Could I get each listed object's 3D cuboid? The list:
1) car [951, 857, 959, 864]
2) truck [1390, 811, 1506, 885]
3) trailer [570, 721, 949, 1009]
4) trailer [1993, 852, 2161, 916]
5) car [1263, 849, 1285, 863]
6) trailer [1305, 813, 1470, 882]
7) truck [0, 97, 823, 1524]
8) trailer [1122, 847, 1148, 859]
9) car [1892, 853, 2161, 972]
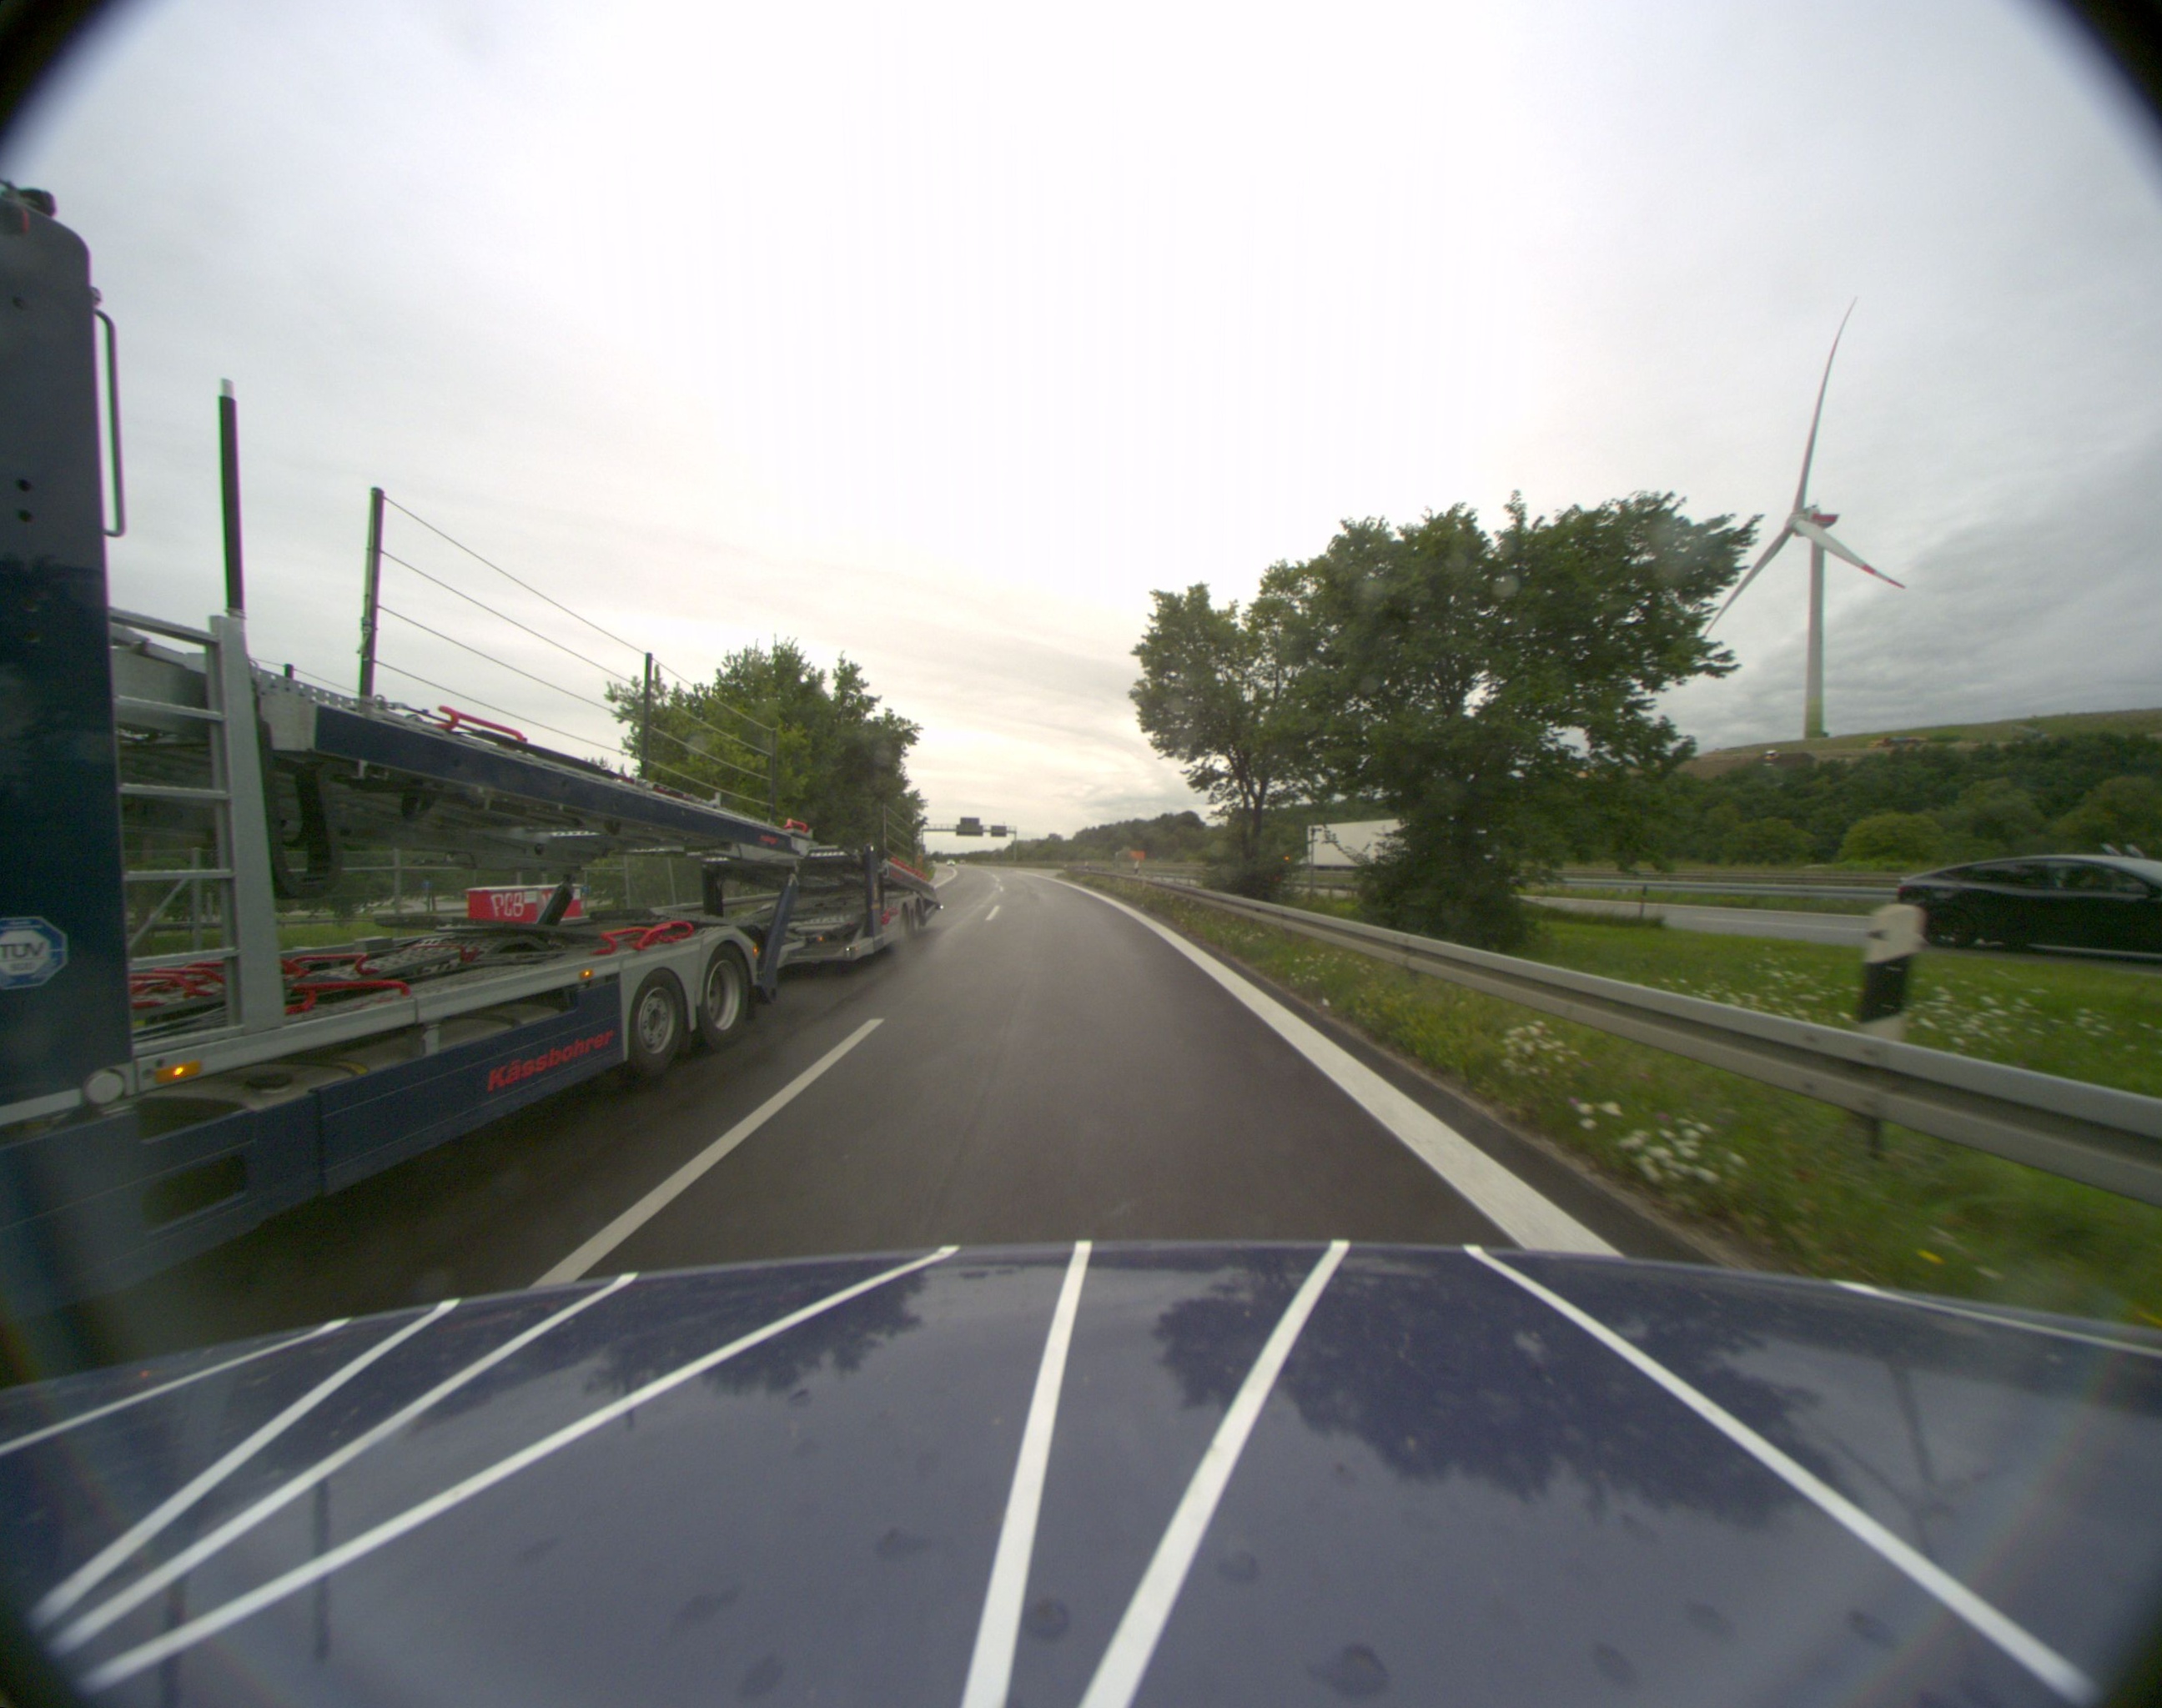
[{"bbox_3d":[-33.162,1.652,199.371,1.632,1.632,3.771,-1,1,-16],"label":"car"},{"bbox_3d":[21.942,-0.358,45.823,2.776,4.111,6.437,-1,0,-14],"label":"truck"},{"bbox_3d":[-4.586,0.120,13.931,2.785,3.265,10.404,-1,0,-2],"label":"trailer"},{"bbox_3d":[28.813,0.774,21.363,1.889,1.617,3.606,-1,1,-14],"label":"trailer"},{"bbox_3d":[33.258,0.306,130.951,2.030,2.362,3.995,-1,0,-15],"label":"car"},{"bbox_3d":[20.330,-0.408,52.120,2.776,4.111,13.933,-1,0,-14],"label":"trailer"},{"bbox_3d":[-4.364,-0.102,4.051,2.746,3.944,9.128,-3,0,-1],"label":"truck"},{"bbox_3d":[13.723,-0.315,194.280,2.695,3.056,12.549,-1,1,-14],"label":"trailer"},{"bbox_3d":[16.123,0.837,11.729,1.968,1.628,4.548,-1,1,-14],"label":"car"}]
